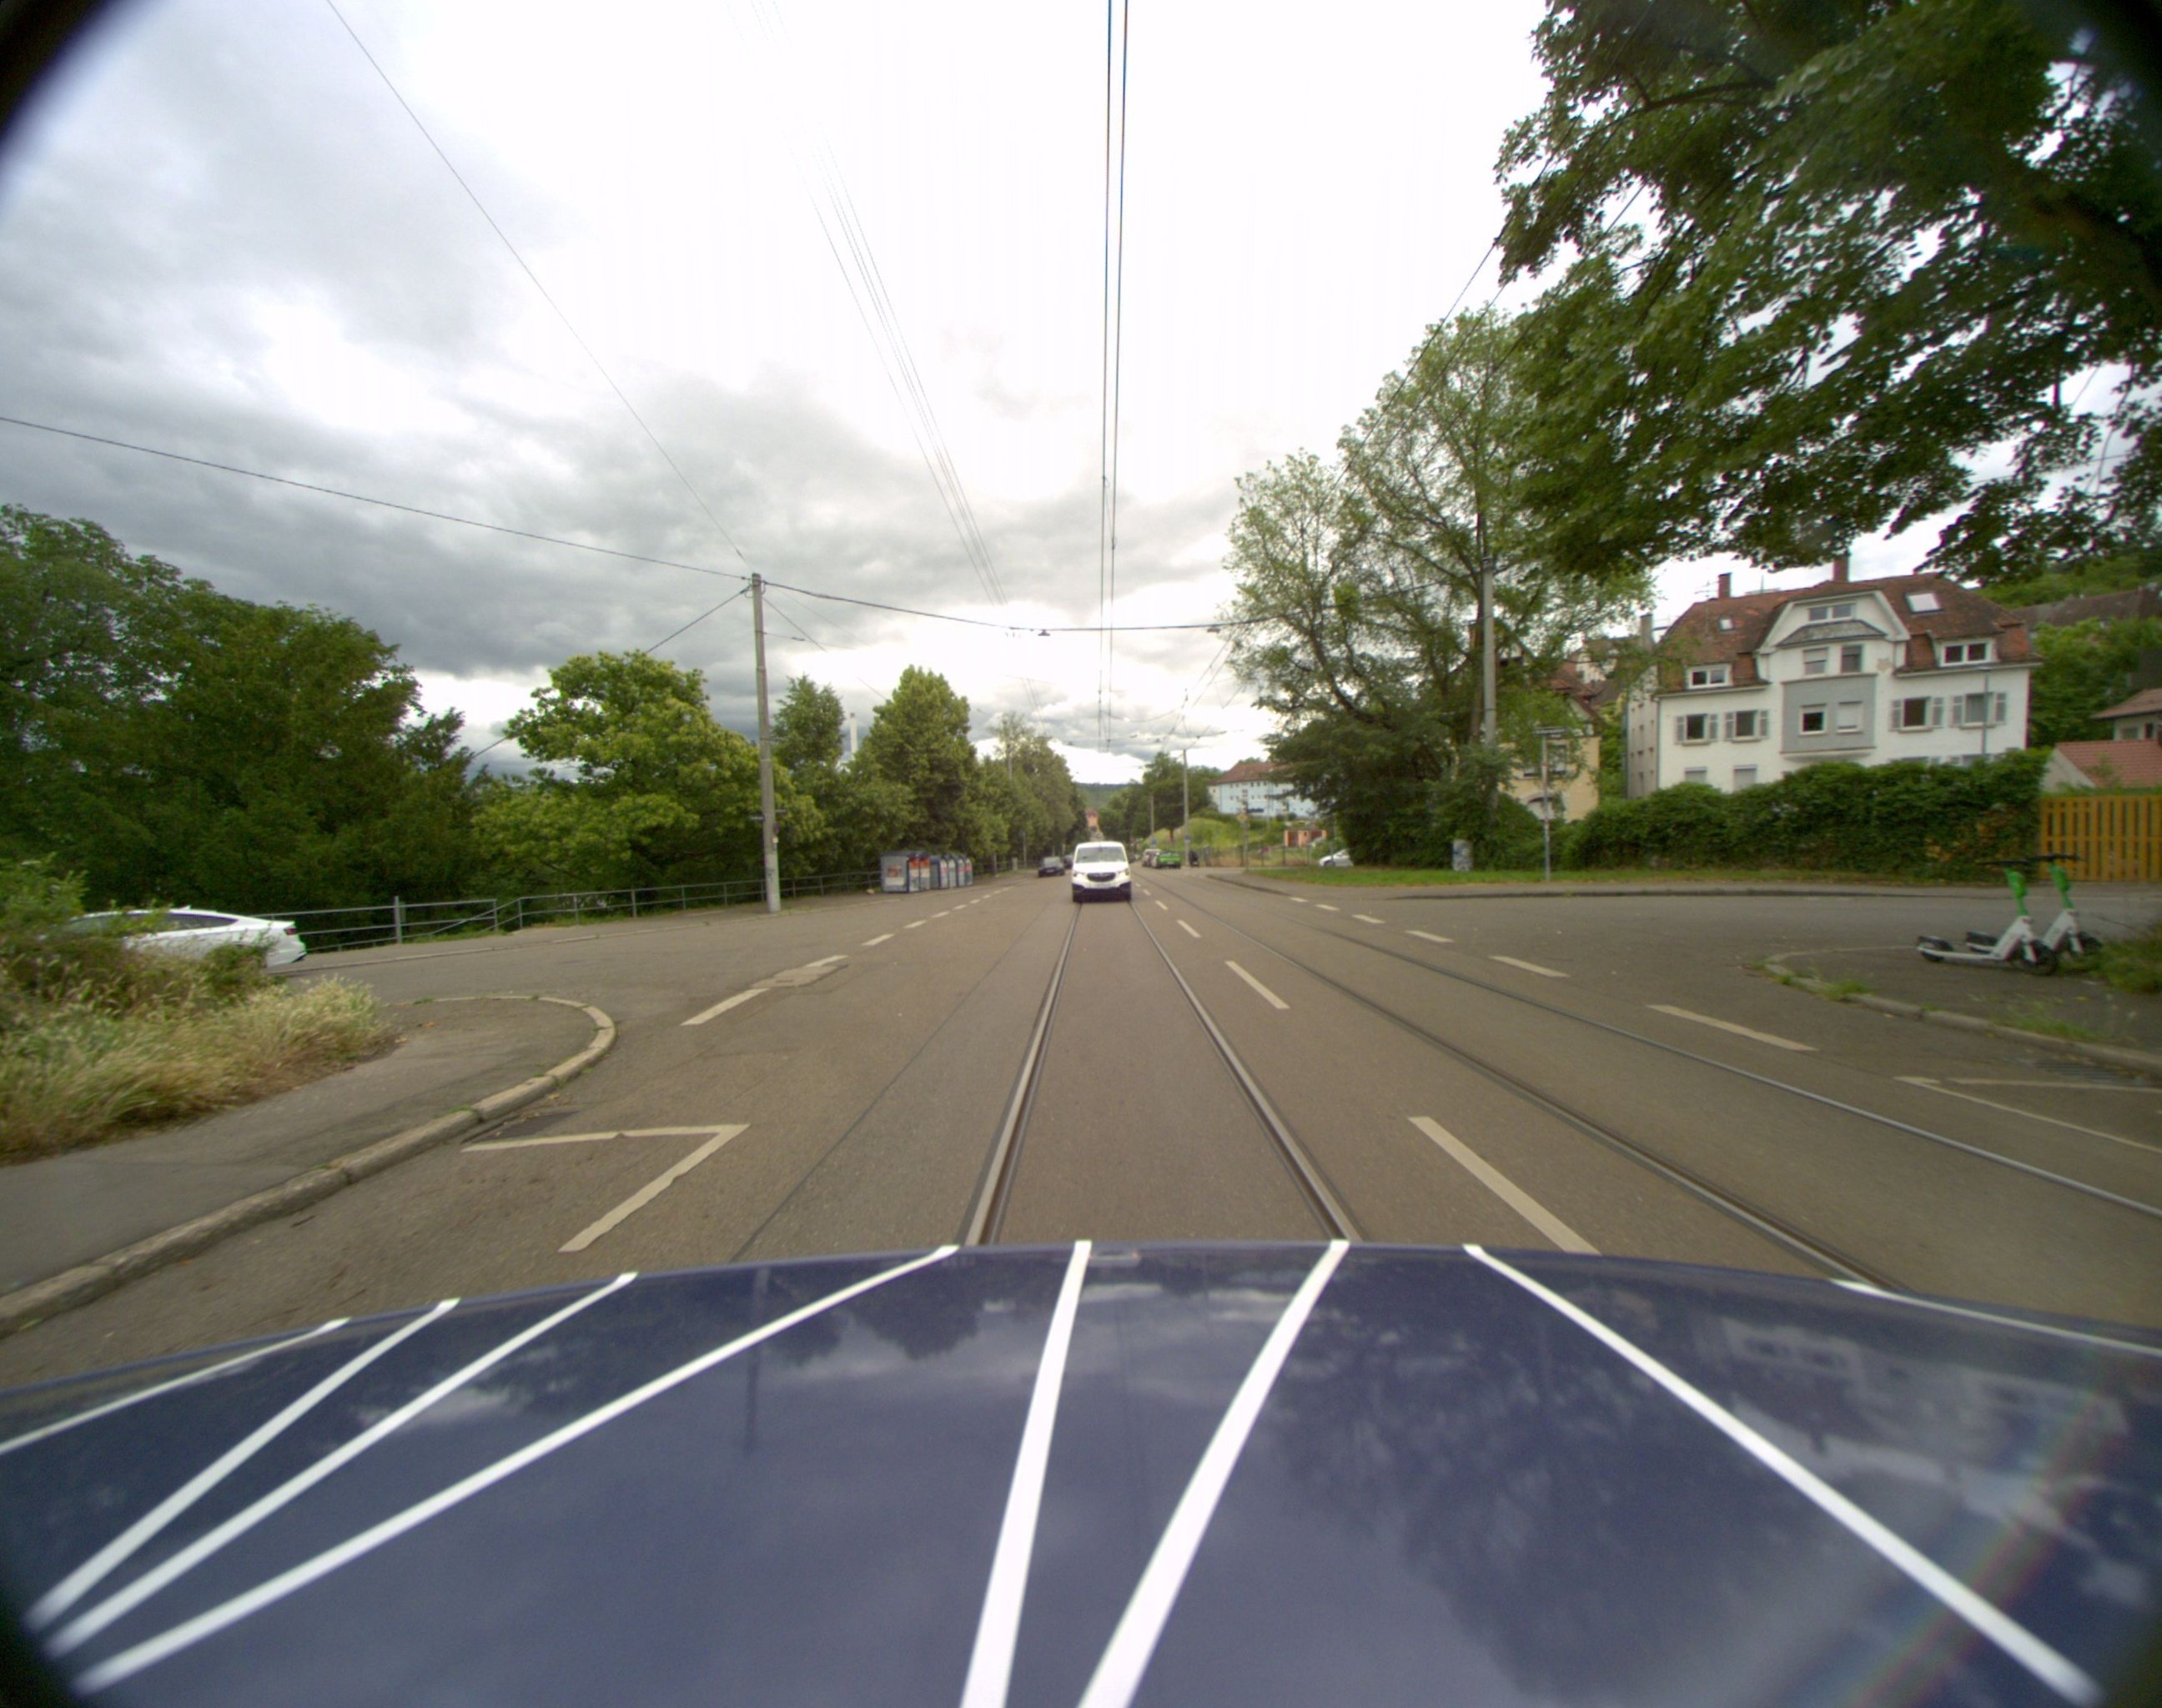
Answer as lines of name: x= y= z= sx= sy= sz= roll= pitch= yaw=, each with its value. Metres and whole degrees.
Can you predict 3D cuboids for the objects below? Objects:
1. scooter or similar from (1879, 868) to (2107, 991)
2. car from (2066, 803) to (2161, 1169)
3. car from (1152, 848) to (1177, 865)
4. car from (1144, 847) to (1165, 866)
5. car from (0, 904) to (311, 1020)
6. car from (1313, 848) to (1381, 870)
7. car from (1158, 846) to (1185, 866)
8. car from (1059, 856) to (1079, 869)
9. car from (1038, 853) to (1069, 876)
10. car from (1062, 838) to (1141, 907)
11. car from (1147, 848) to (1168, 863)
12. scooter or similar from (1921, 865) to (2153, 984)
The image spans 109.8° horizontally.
scooter or similar: x=9.447 y=0.728 z=7.980 sx=0.312 sy=1.139 sz=1.718 roll=-3 pitch=-1 yaw=1
car: x=6.019 y=0.670 z=1.649 sx=1.766 sy=1.765 sz=4.668 roll=1 pitch=1 yaw=3
car: x=7.450 y=0.211 z=68.017 sx=1.855 sy=1.485 sz=3.948 roll=0 pitch=0 yaw=1
car: x=7.883 y=0.262 z=81.849 sx=1.901 sy=1.935 sz=4.291 roll=0 pitch=0 yaw=1
car: x=-15.751 y=1.711 z=12.015 sx=1.896 sy=1.372 sz=4.608 roll=-5 pitch=-1 yaw=28
car: x=17.279 y=0.314 z=49.368 sx=4.004 sy=1.369 sz=1.698 roll=-1 pitch=1 yaw=25
car: x=7.387 y=0.192 z=62.285 sx=1.856 sy=1.532 sz=3.948 roll=-2 pitch=0 yaw=1
car: x=-1.323 y=0.940 z=84.933 sx=1.822 sy=1.344 sz=3.940 roll=-4 pitch=0 yaw=3
car: x=-1.988 y=0.720 z=55.825 sx=1.863 sy=1.434 sz=4.388 roll=-5 pitch=0 yaw=2
car: x=0.725 y=0.497 z=22.996 sx=1.758 sy=1.824 sz=4.450 roll=-2 pitch=0 yaw=9
car: x=7.715 y=0.108 z=76.699 sx=1.855 sy=1.485 sz=3.948 roll=0 pitch=0 yaw=1
scooter or similar: x=10.166 y=0.696 z=8.187 sx=0.312 sy=1.139 sz=1.718 roll=-3 pitch=-1 yaw=1
